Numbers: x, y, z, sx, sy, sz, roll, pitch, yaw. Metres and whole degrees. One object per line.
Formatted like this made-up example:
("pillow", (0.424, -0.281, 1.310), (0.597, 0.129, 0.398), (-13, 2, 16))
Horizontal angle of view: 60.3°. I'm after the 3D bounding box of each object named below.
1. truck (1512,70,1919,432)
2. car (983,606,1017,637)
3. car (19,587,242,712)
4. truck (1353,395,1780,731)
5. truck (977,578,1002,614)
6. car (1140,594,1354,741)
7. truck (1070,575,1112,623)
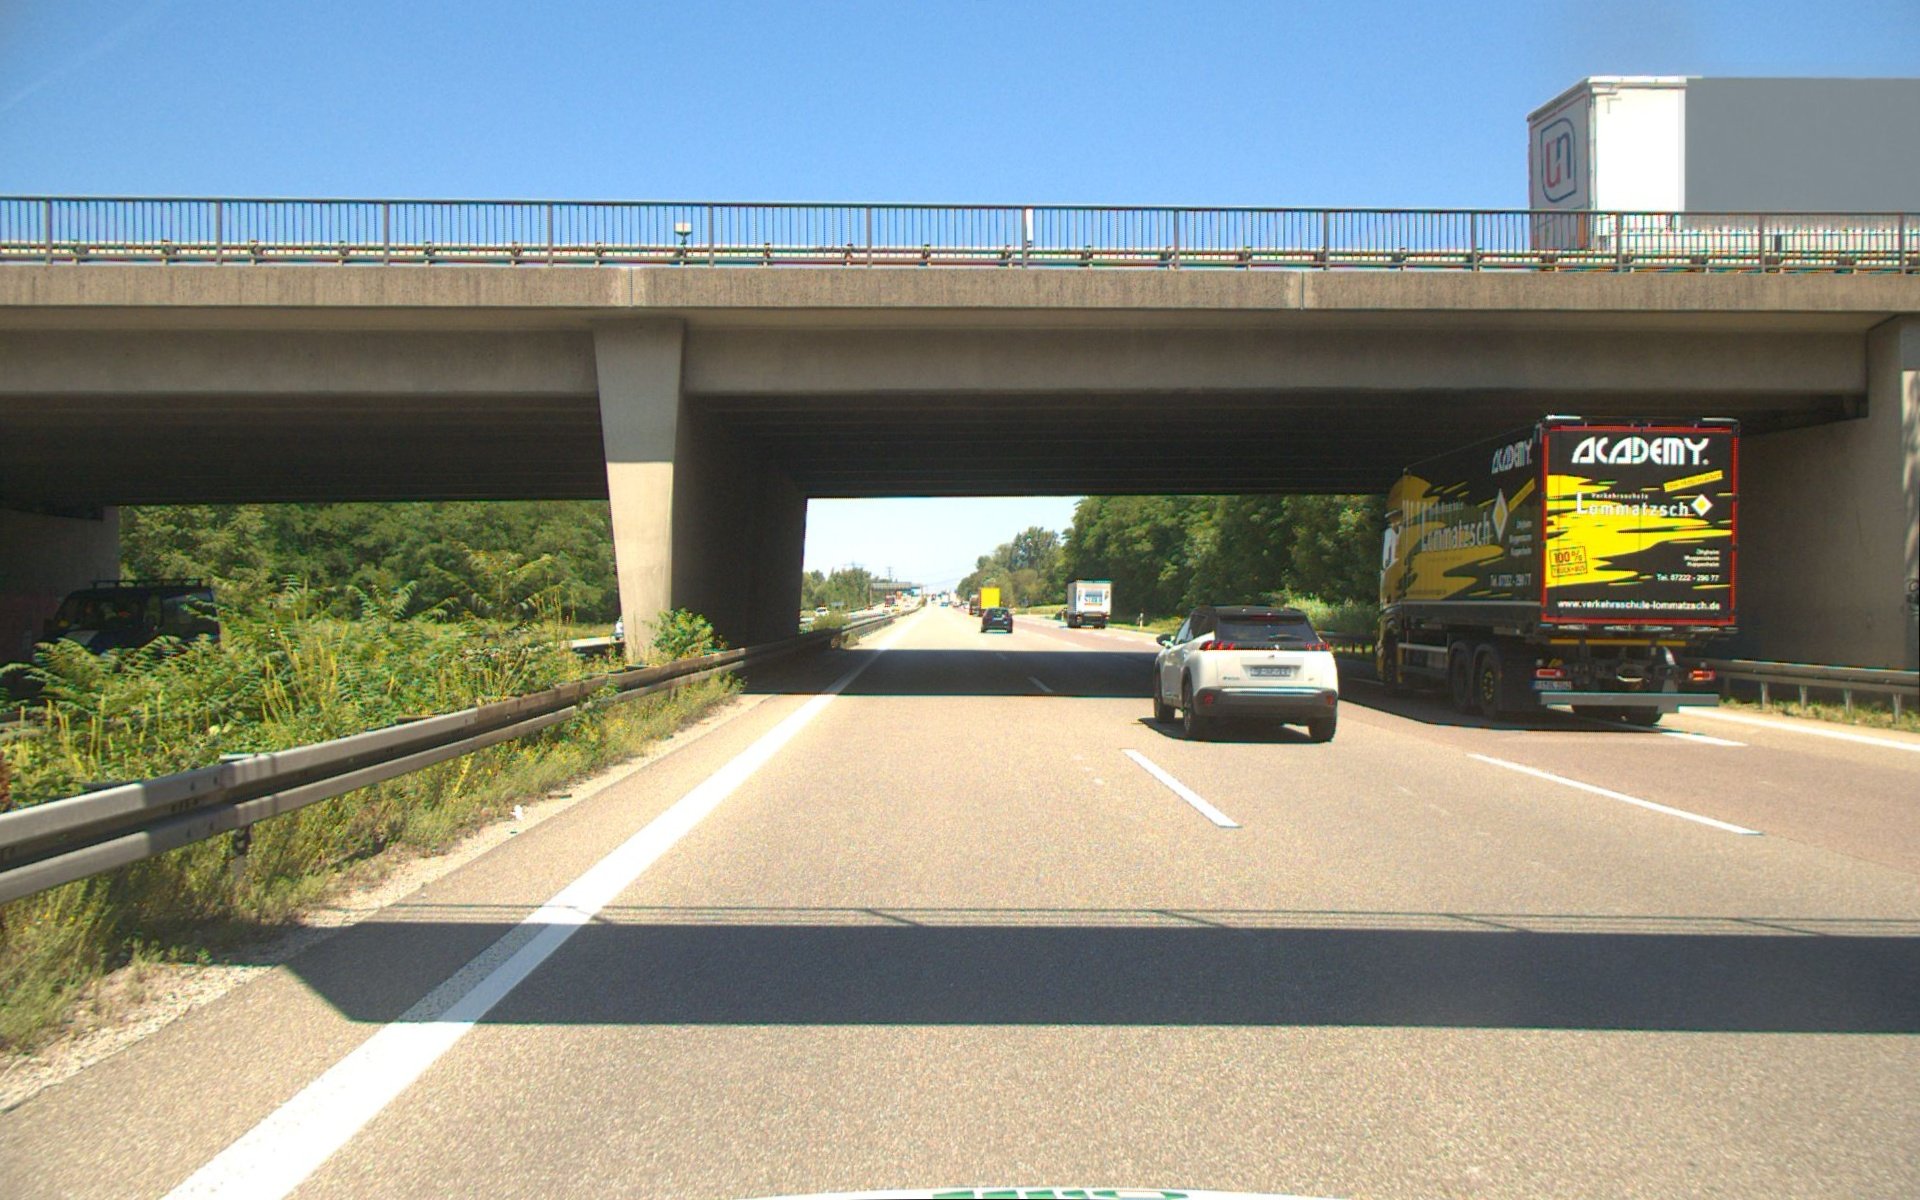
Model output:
("truck", (18.744, -6.146, 30.856), (16.143, 5.663, 3.171), (1, -1, -6))
("car", (2.312, 1.227, 95.708), (1.790, 1.736, 3.999), (1, 0, -1))
("car", (-17.627, 0.997, 35.534), (2.047, 2.441, 5.731), (1, 0, -2))
("truck", (8.889, -0.423, 26.161), (2.913, 4.107, 10.983), (2, 0, 2))
("truck", (4.196, -0.463, 240.443), (3.308, 4.966, 15.084), (1, 0, 0))
("car", (3.481, 0.778, 20.922), (1.790, 1.636, 4.807), (0, 0, -1))
("truck", (9.883, -0.025, 125.542), (2.965, 3.377, 10.774), (1, 0, 3))
